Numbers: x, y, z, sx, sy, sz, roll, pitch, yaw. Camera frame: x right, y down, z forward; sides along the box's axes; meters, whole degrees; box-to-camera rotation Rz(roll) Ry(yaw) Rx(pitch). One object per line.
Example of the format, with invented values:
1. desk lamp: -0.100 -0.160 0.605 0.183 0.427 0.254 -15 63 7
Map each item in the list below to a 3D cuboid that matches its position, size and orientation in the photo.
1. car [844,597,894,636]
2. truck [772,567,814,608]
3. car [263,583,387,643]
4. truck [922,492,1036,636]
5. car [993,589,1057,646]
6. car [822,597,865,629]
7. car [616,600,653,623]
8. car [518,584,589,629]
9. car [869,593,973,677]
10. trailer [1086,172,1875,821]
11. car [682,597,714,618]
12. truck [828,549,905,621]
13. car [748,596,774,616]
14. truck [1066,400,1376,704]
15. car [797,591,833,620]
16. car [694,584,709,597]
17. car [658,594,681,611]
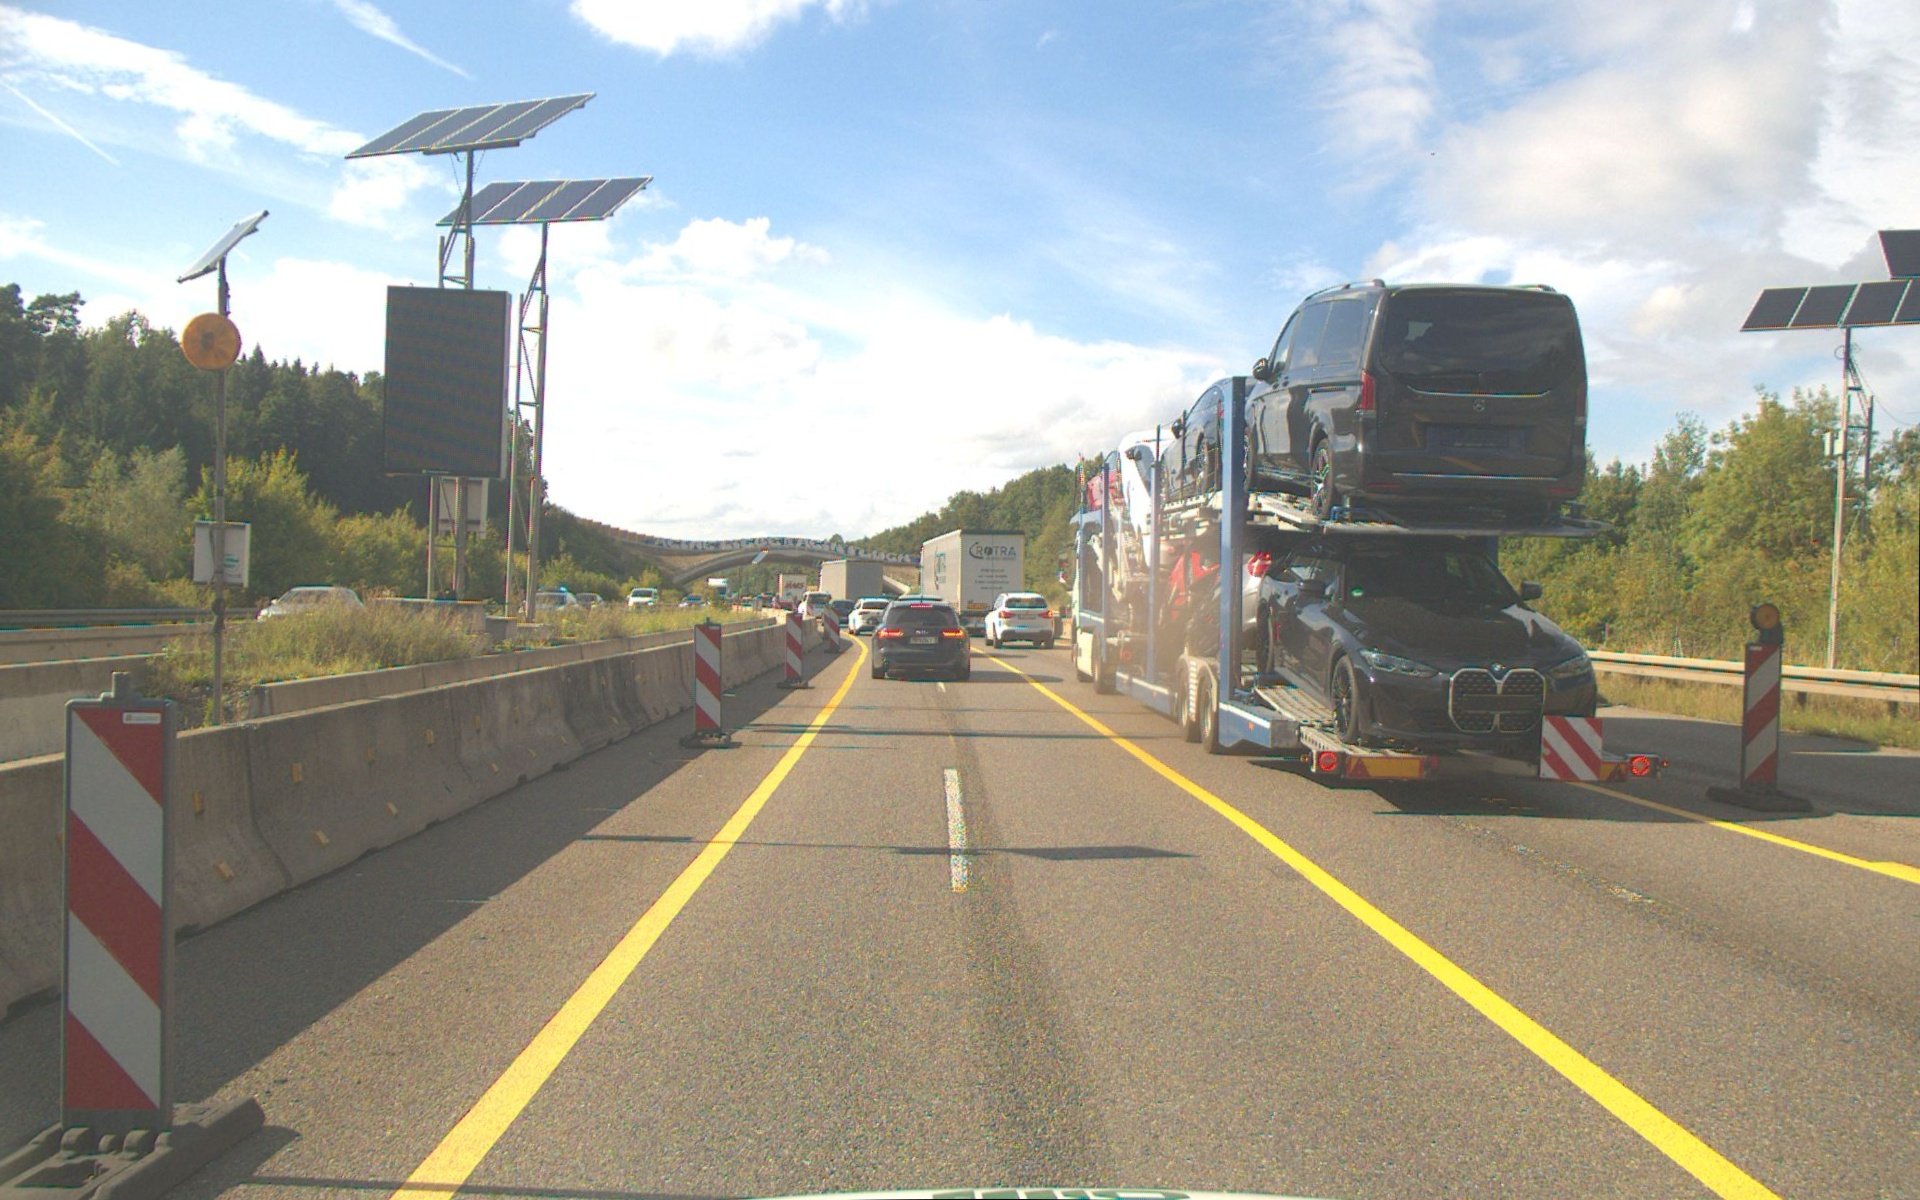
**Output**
1. car: -3.687 0.643 66.575 1.853 1.472 3.996 1 0 -5
2. truck: -17.437 -1.258 172.212 3.587 3.997 11.042 1 0 -10
3. car: -18.249 0.356 47.765 1.741 1.630 4.676 1 0 0
4. truck: 0.530 -1.375 71.449 3.605 5.447 16.188 1 0 -4
5. car: 1.998 0.523 51.671 1.851 1.672 4.018 1 0 0
6. car: -6.168 0.668 87.285 1.856 1.672 4.007 1 0 -11
7. car: -24.055 0.811 122.497 1.929 1.630 4.945 1 0 -2
8. car: -15.500 0.252 63.282 1.742 1.630 4.674 1 0 -2
9. car: -0.680 0.629 31.548 1.851 1.472 4.000 1 0 0
10. trailer: 4.110 -0.680 19.159 3.651 4.269 16.222 1 0 -1
11. car: -21.137 0.600 133.585 1.929 1.630 4.945 1 0 -2
12. truck: -6.617 -0.983 115.199 4.239 4.681 11.102 1 0 -9
13. car: -16.908 0.518 140.157 1.747 1.630 4.004 1 0 -13
14. truck: 3.980 -0.677 27.515 3.685 4.269 7.948 1 0 -1
15. car: -8.851 0.321 100.575 1.855 1.672 4.009 1 0 -9
16. car: -37.542 -1.367 240.281 1.745 1.899 3.997 1 0 -4
17. car: -28.803 0.284 164.186 1.930 1.630 4.940 1 0 -7
